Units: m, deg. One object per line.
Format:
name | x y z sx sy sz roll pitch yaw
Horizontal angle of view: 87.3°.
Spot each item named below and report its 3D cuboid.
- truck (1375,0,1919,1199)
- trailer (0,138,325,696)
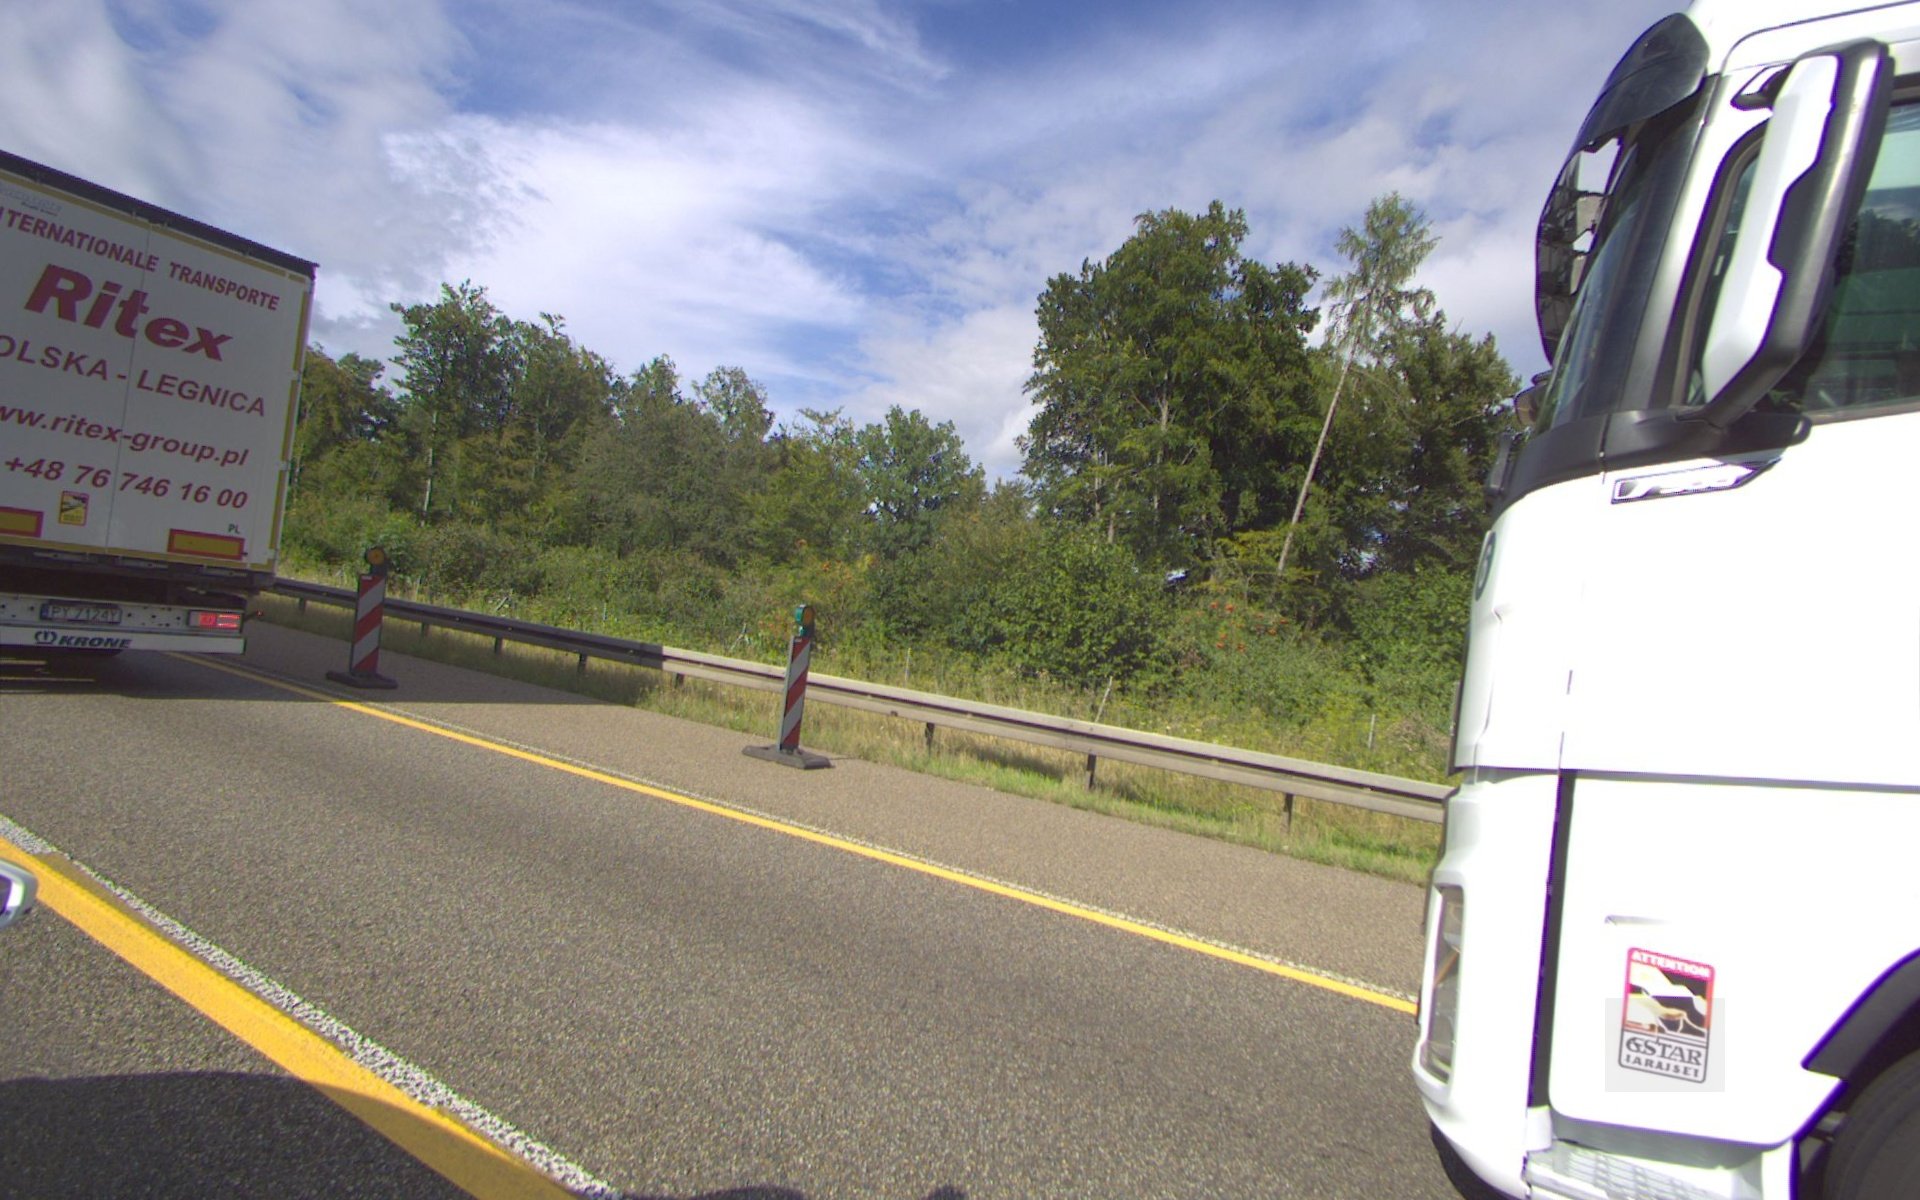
truck | 4.253 0.154 2.049 5.693 3.825 2.500 6 -1 31
trailer | -12.335 -1.908 11.426 13.193 4.015 2.705 7 -1 31
